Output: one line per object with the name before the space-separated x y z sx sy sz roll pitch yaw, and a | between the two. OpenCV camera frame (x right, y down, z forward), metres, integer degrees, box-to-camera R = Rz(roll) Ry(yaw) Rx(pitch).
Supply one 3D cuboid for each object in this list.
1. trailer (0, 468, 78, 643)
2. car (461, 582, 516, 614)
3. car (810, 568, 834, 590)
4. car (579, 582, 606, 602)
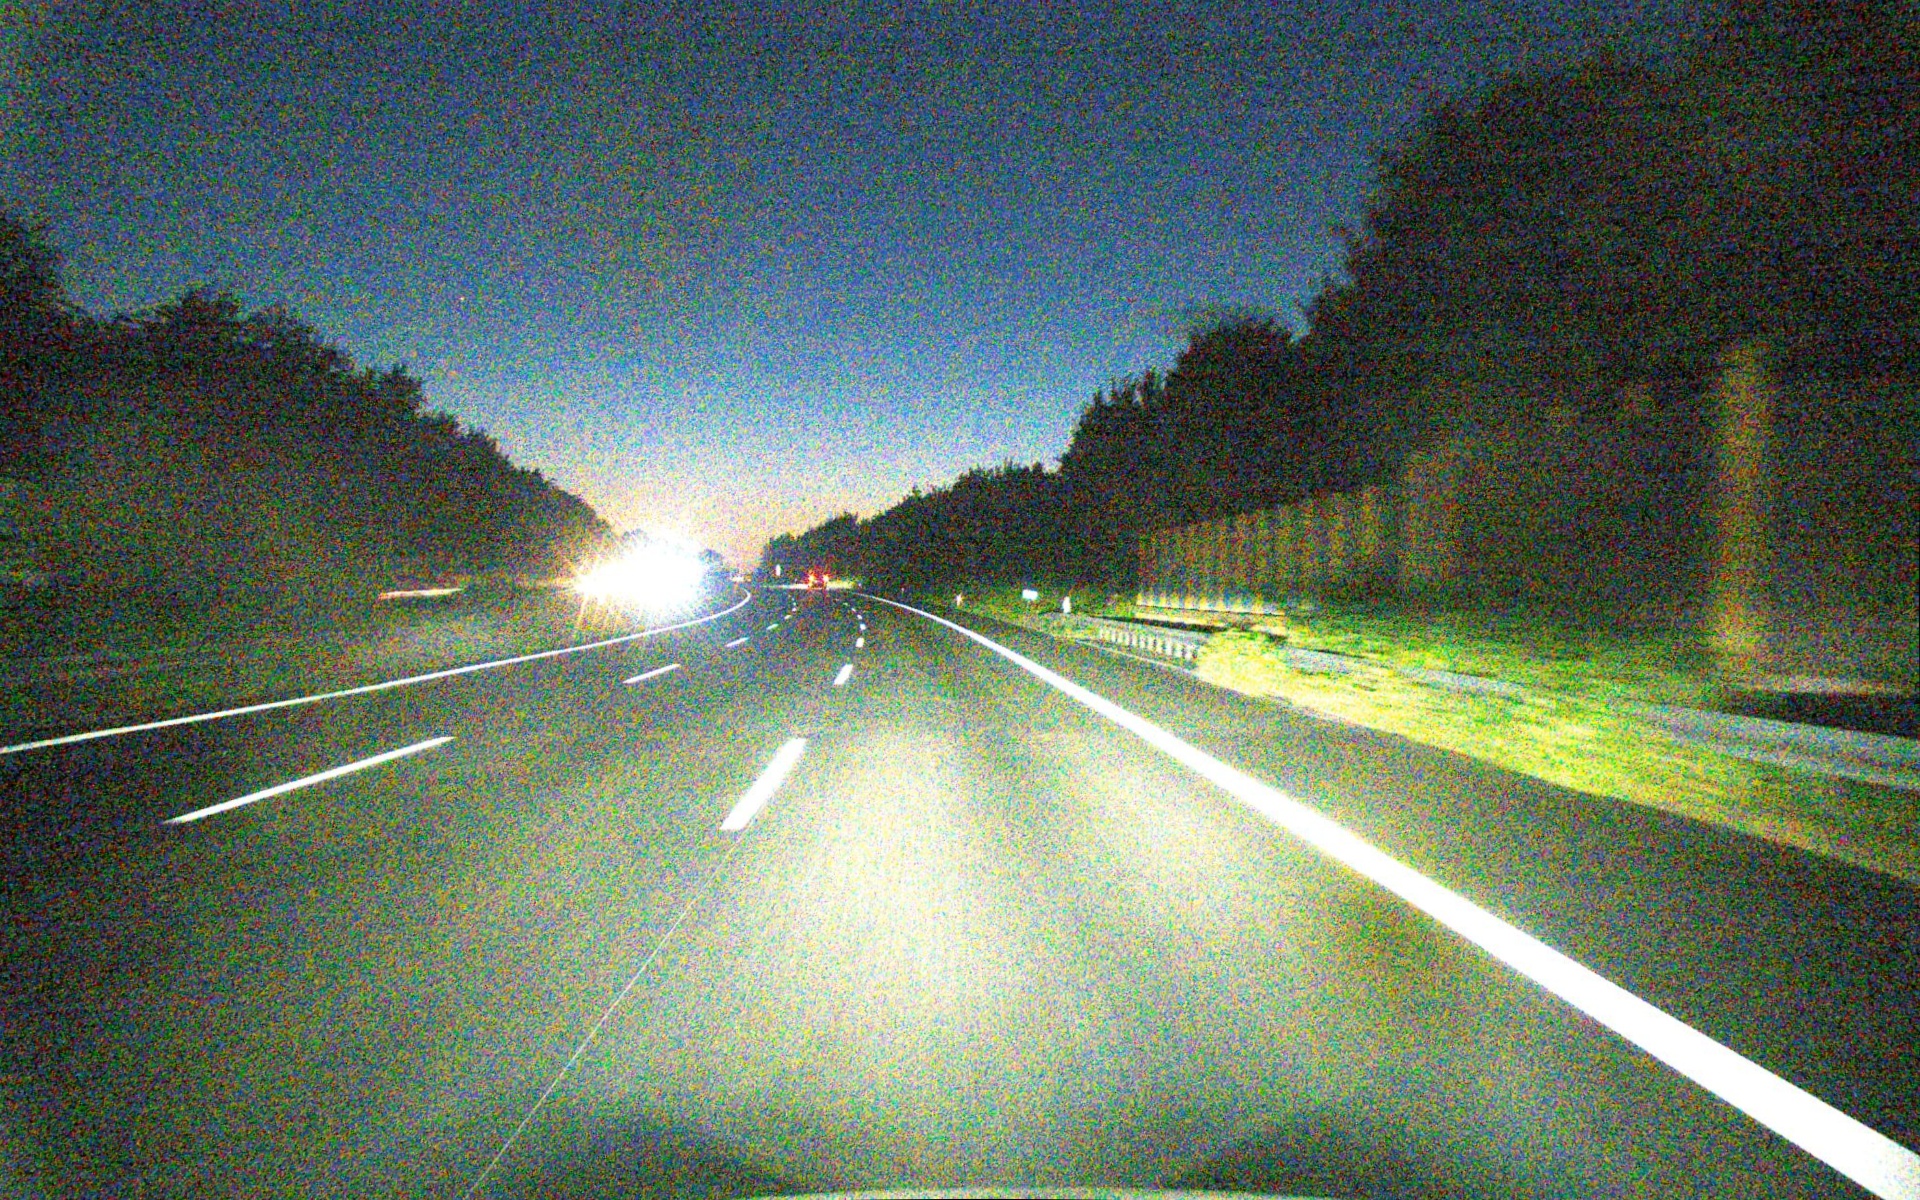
trailer | -24.454 -1.037 35.985 3.527 4.162 14.117 0 0 -3
car | -28.827 -0.160 101.236 2.350 1.908 4.509 0 0 -4
car | -17.269 -2.590 206.757 2.481 2.597 6.038 3 0 -9
car | -33.865 -0.746 152.543 1.955 1.756 4.071 0 1 -7
